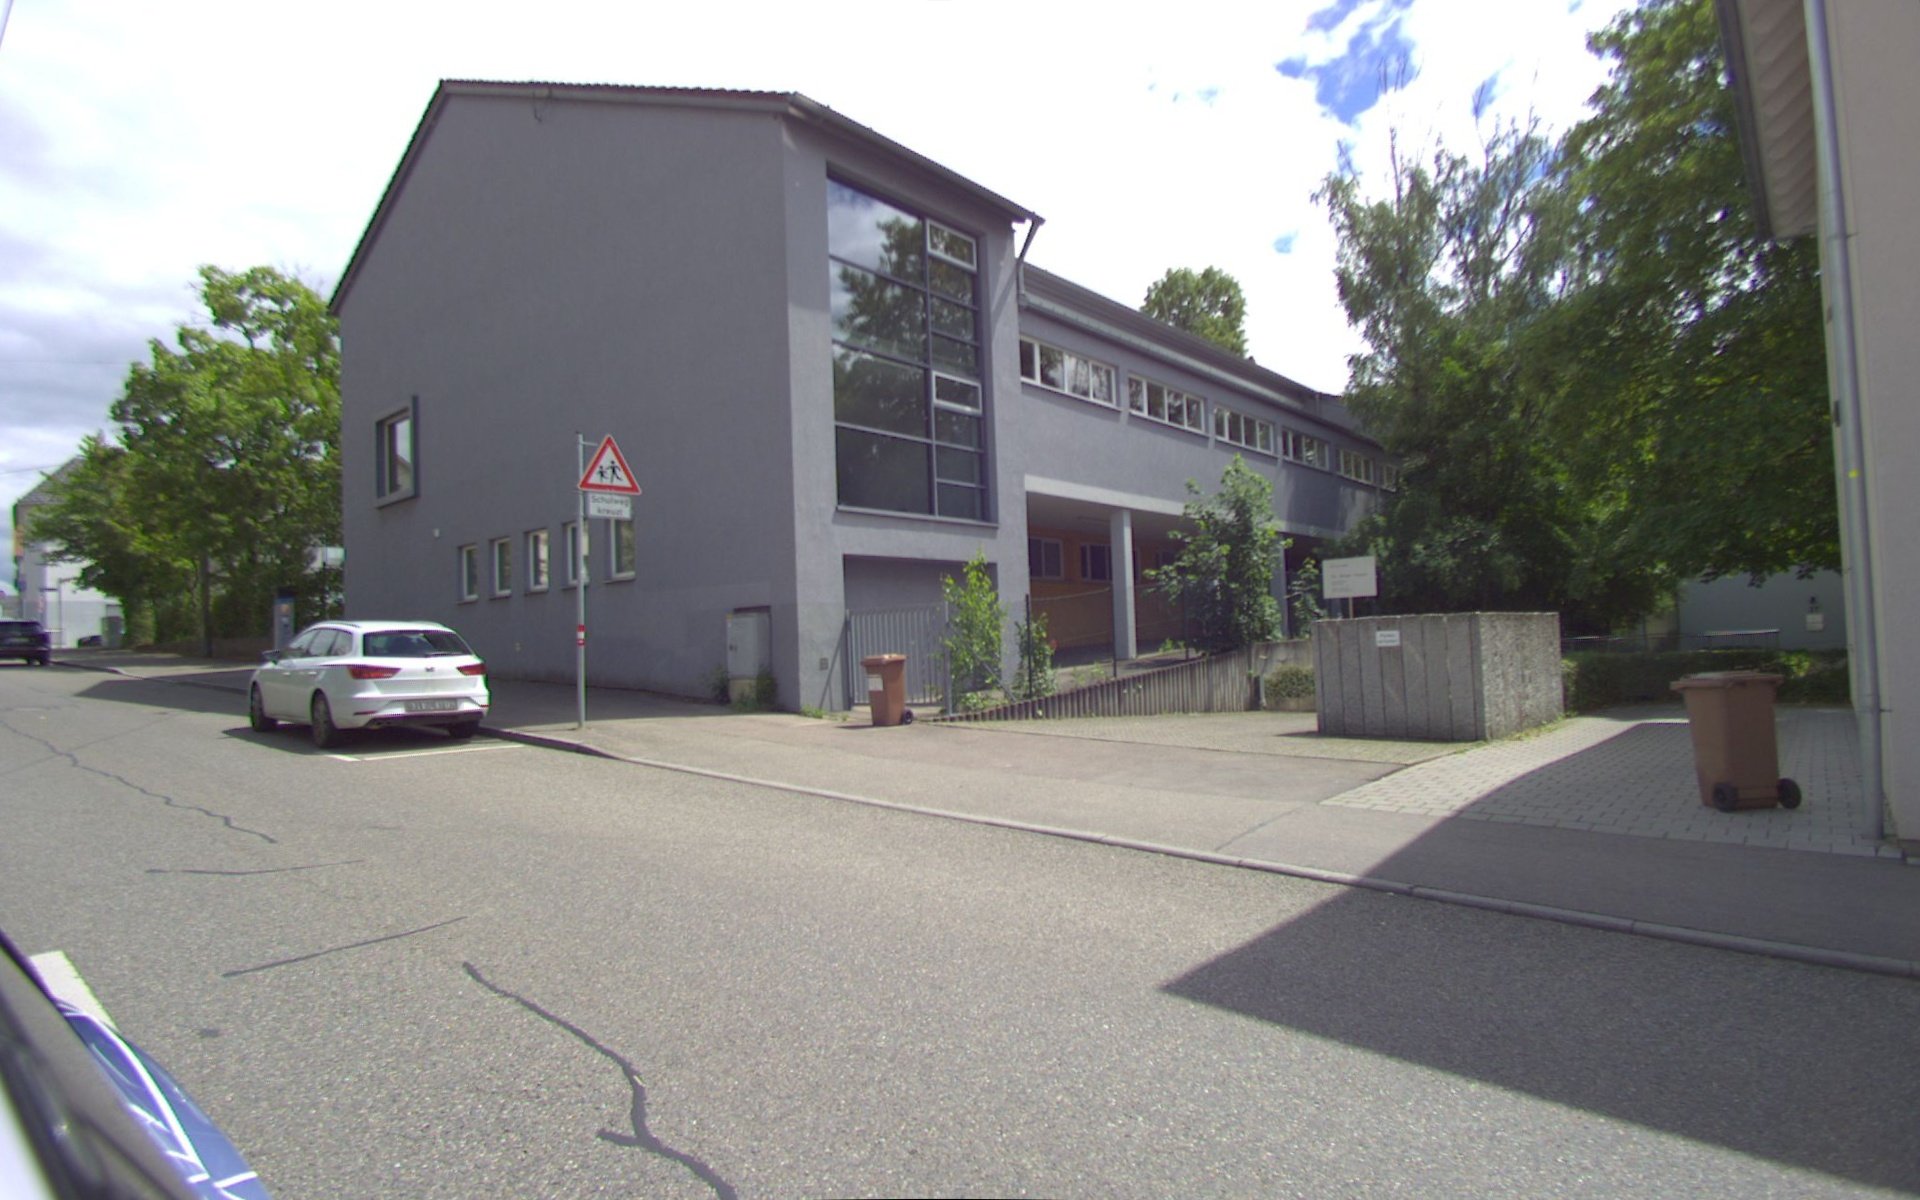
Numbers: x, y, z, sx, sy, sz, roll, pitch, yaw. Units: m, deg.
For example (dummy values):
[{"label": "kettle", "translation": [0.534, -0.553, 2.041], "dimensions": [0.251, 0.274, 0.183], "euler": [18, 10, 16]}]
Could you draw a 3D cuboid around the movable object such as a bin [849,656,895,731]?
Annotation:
[{"label": "movable object such as a bin", "translation": [-1.148, 1.214, 13.246], "dimensions": [0.399, 0.936, 0.449], "euler": [-2, -3, 40]}]

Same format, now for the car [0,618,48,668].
[{"label": "car", "translation": [-32.880, 1.475, 34.644], "dimensions": [4.640, 1.622, 1.778], "euler": [-3, -2, 39]}]

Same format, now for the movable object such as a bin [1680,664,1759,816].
[{"label": "movable object such as a bin", "translation": [5.133, 0.922, 6.843], "dimensions": [0.391, 0.961, 0.409], "euler": [-2, -2, 38]}]

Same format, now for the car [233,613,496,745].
[{"label": "car", "translation": [-7.602, 0.884, 12.779], "dimensions": [3.863, 1.401, 1.680], "euler": [-1, -1, 40]}]

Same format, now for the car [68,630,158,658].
[{"label": "car", "translation": [-51.082, 2.645, 61.084], "dimensions": [1.857, 1.488, 3.945], "euler": [-5, -4, 41]}]
